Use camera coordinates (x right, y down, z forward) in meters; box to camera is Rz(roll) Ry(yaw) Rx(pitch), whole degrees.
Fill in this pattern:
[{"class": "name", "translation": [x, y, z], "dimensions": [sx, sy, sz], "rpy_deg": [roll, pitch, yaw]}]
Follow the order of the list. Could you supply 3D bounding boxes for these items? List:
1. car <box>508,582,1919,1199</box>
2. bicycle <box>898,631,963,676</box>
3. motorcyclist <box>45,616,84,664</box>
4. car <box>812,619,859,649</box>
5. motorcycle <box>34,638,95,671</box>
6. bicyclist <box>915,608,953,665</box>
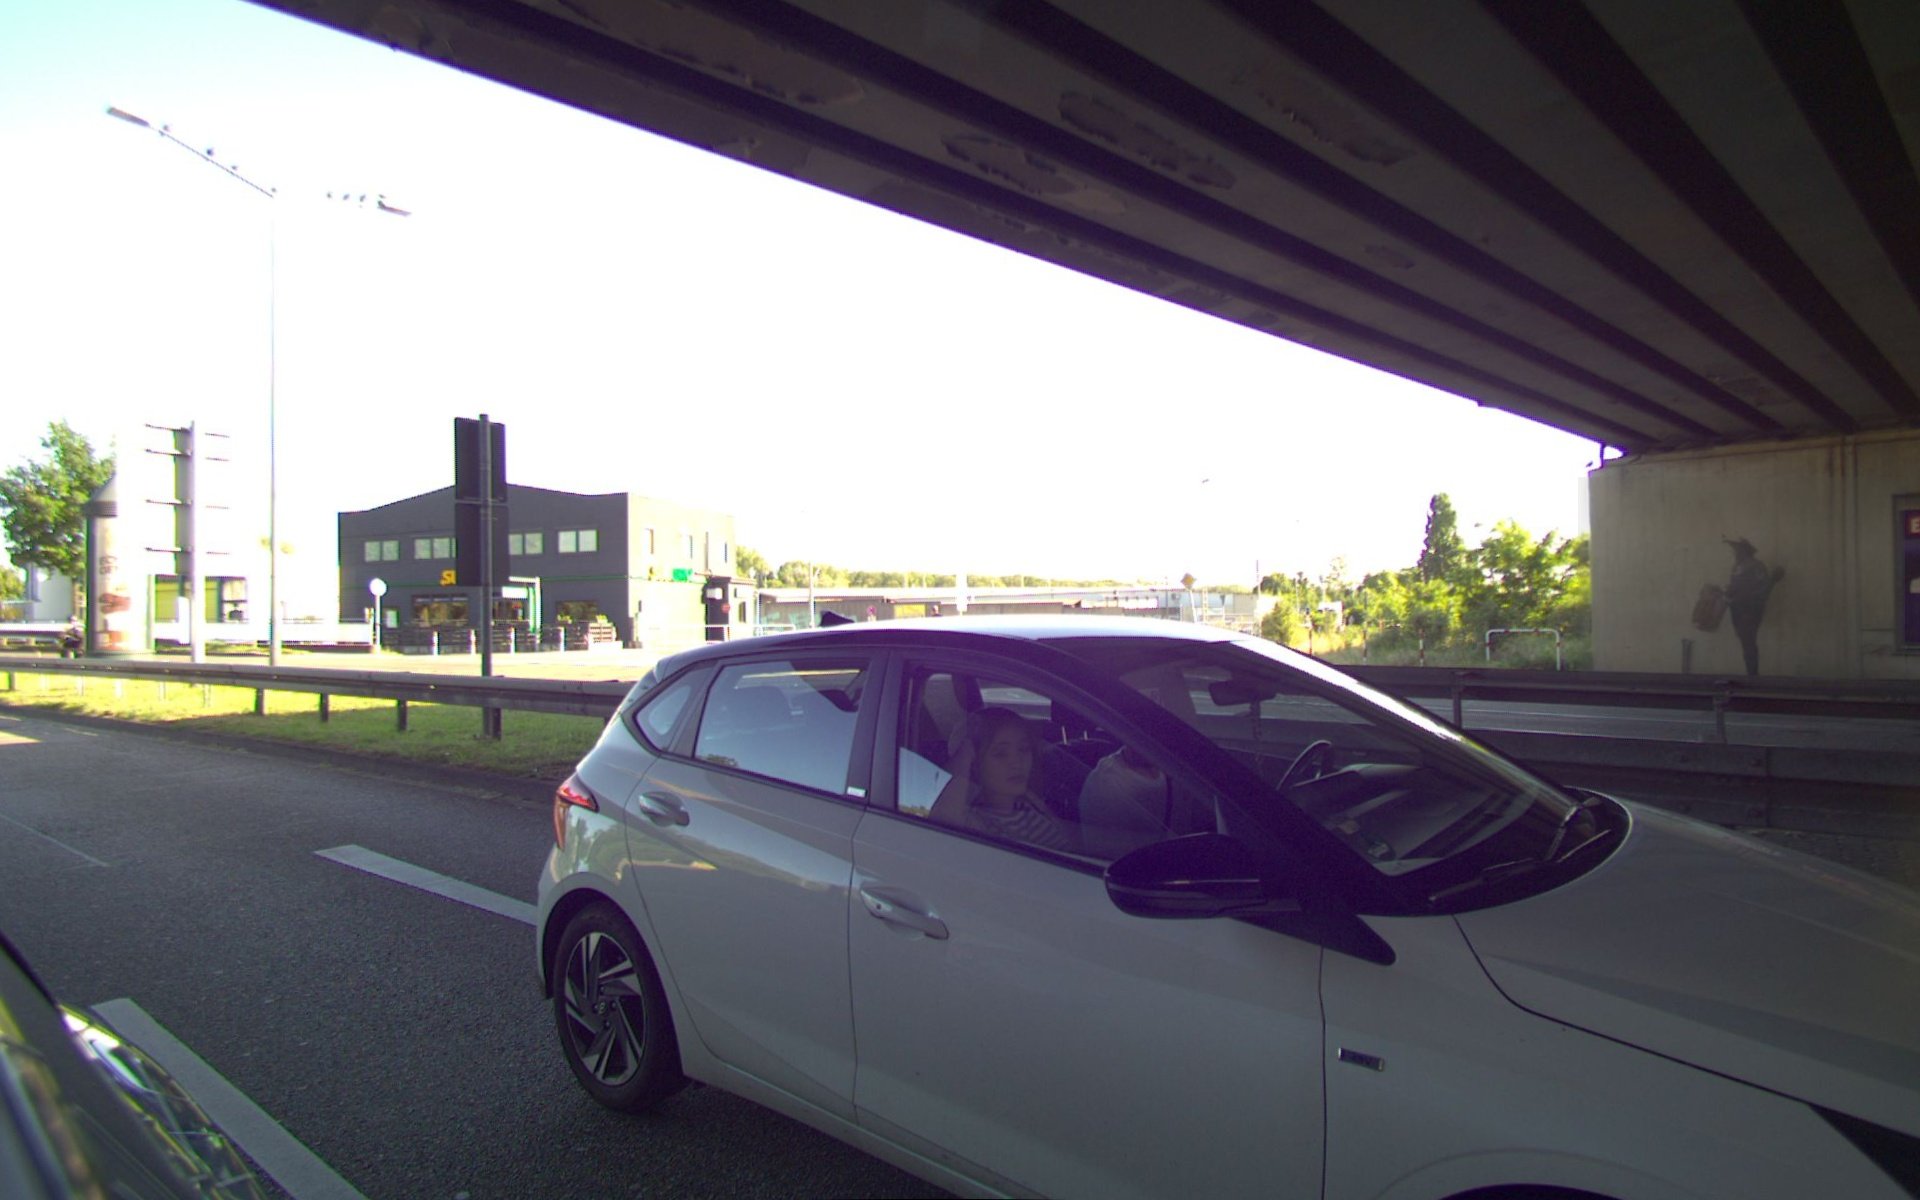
[{"class": "car", "translation": [0.606, 0.702, 2.661], "dimensions": [3.867, 1.414, 1.715], "rpy_deg": [0, -1, 39]}, {"class": "bicycle", "translation": [-0.832, 1.452, 28.051], "dimensions": [1.877, 1.174, 0.627], "rpy_deg": [-1, 0, 41]}, {"class": "motorcyclist", "translation": [-29.043, 1.278, 32.826], "dimensions": [0.693, 1.539, 0.694], "rpy_deg": [-1, -1, 22]}, {"class": "car", "translation": [-6.715, 1.823, 55.002], "dimensions": [1.858, 1.453, 3.996], "rpy_deg": [-1, 0, 3]}, {"class": "motorcycle", "translation": [-29.042, 1.775, 32.819], "dimensions": [1.995, 1.035, 0.690], "rpy_deg": [-2, -1, 22]}, {"class": "bicyclist", "translation": [-0.727, 1.005, 27.950], "dimensions": [0.836, 1.536, 0.621], "rpy_deg": [-1, 0, 41]}]
